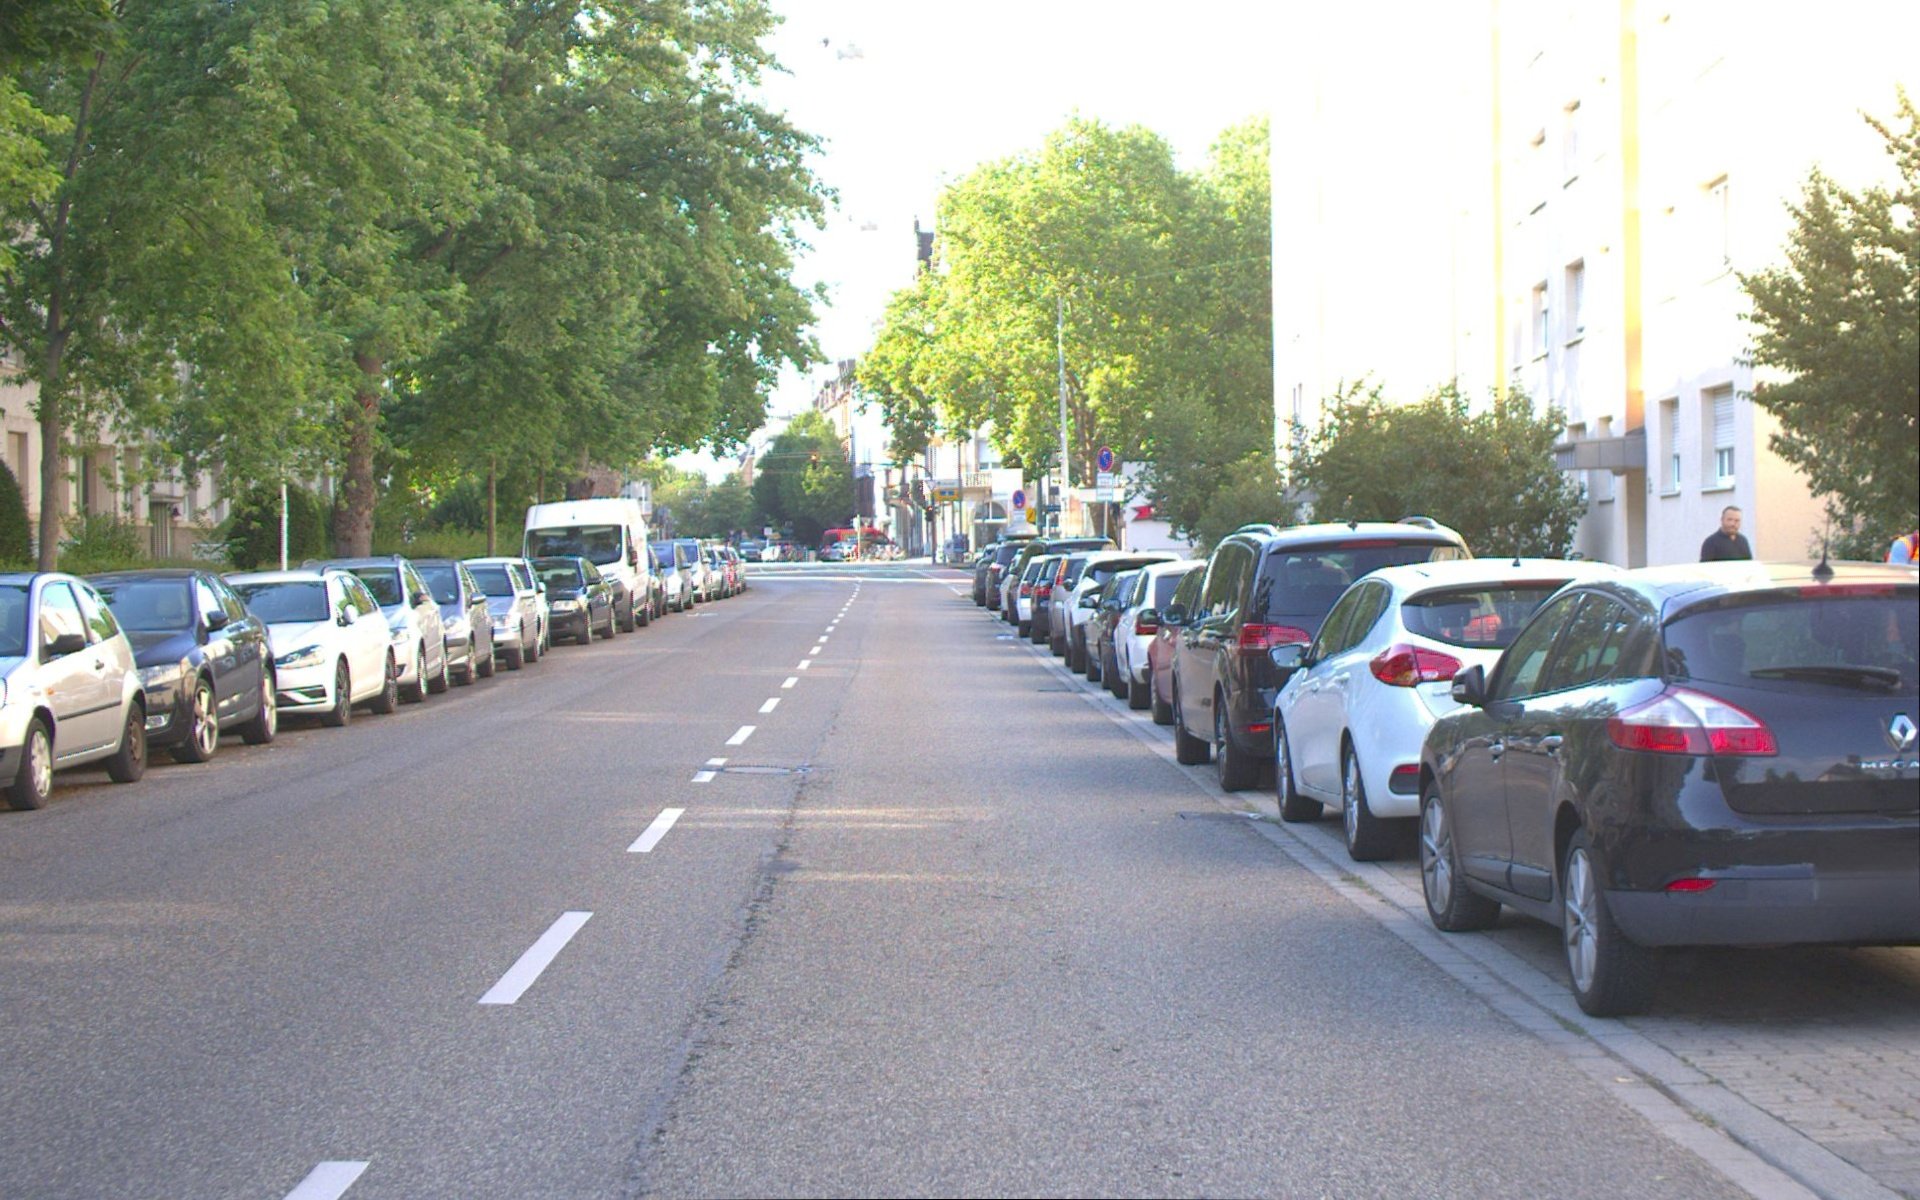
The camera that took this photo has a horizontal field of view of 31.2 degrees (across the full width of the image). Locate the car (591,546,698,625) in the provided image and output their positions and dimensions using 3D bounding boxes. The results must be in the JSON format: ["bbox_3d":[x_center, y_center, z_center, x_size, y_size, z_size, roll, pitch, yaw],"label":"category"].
[{"bbox_3d":[-6.559,-0.291,71.823,1.870,1.553,4.366,1,0,-1],"label":"car"}]

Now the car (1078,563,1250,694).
[{"bbox_3d":[2.367,0.320,40.746,1.661,1.433,4.313,1,0,-1],"label":"car"}]

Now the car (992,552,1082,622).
[{"bbox_3d":[1.605,-0.271,73.334,1.679,1.411,4.724,1,0,-1],"label":"car"}]

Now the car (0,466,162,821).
[{"bbox_3d":[-6.437,0.284,21.365,1.993,2.007,4.000,-2,0,-1],"label":"car"}]

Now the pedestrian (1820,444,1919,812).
[{"bbox_3d":[5.205,0.154,18.269,0.888,1.884,1.279,1,0,-1],"label":"pedestrian"}]

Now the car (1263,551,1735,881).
[{"bbox_3d":[2.721,0.546,18.225,1.771,1.503,4.000,-2,0,-1],"label":"car"}]

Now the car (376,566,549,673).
[{"bbox_3d":[-6.751,0.248,47.051,1.873,1.351,4.654,2,0,-3],"label":"car"}]

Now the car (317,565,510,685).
[{"bbox_3d":[-6.637,0.294,42.140,1.873,1.351,4.000,2,0,-3],"label":"car"}]

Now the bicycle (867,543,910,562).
[{"bbox_3d":[-4.766,-3.153,229.513,2.802,1.199,0.510,2,0,-7],"label":"bicycle"}]

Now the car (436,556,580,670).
[{"bbox_3d":[-6.828,0.193,52.175,1.707,1.568,3.261,4,0,-1],"label":"car"}]

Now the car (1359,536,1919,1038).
[{"bbox_3d":[2.770,0.559,12.773,1.798,1.502,4.622,-1,0,-3],"label":"car"}]

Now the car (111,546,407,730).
[{"bbox_3d":[-6.433,0.325,32.020,2.004,1.547,4.472,2,0,-3],"label":"car"}]

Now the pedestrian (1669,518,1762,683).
[{"bbox_3d":[7.741,0.005,35.231,0.766,1.652,0.536,-2,0,-1],"label":"pedestrian"}]

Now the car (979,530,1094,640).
[{"bbox_3d":[1.262,-0.246,57.806,1.837,1.766,3.978,1,0,1],"label":"car"}]

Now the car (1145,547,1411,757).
[{"bbox_3d":[2.608,0.408,29.032,1.771,1.611,4.000,1,0,-1],"label":"car"}]

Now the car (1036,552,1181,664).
[{"bbox_3d":[2.240,0.121,52.909,1.962,1.600,4.279,1,0,-1],"label":"car"}]

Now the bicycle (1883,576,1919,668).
[{"bbox_3d":[10.015,0.232,35.812,0.438,0.938,1.790,1,0,5],"label":"bicycle"}]

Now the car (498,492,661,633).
[{"bbox_3d":[-7.010,-0.663,63.948,2.358,2.437,6.165,1,0,-1],"label":"car"}]

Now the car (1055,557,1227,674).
[{"bbox_3d":[2.365,0.197,45.849,1.873,1.438,4.000,2,0,-3],"label":"car"}]

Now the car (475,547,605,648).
[{"bbox_3d":[-6.931,-0.043,57.066,1.707,1.568,3.819,1,0,-1],"label":"car"}]

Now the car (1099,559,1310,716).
[{"bbox_3d":[2.463,0.363,35.526,1.771,1.449,4.000,-3,0,-1],"label":"car"}]

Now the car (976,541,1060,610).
[{"bbox_3d":[1.413,-0.631,85.824,1.897,1.645,4.343,-1,1,-2],"label":"car"}]

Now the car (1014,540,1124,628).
[{"bbox_3d":[1.948,-0.281,62.493,1.837,1.496,4.172,1,0,0],"label":"car"}]

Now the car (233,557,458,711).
[{"bbox_3d":[-6.640,0.348,37.523,1.873,1.547,4.000,2,0,-3],"label":"car"}]

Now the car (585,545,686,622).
[{"bbox_3d":[-7.555,-0.412,80.425,1.871,1.553,5.057,-5,1,-1],"label":"car"}]

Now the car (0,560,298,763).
[{"bbox_3d":[-6.451,0.433,26.794,1.873,1.429,4.804,0,0,-3],"label":"car"}]

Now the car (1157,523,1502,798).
[{"bbox_3d":[2.440,0.374,23.792,1.771,1.672,4.647,1,0,-1],"label":"car"}]

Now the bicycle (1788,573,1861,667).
[{"bbox_3d":[9.020,0.206,35.912,0.438,0.938,1.790,1,0,5],"label":"bicycle"}]
